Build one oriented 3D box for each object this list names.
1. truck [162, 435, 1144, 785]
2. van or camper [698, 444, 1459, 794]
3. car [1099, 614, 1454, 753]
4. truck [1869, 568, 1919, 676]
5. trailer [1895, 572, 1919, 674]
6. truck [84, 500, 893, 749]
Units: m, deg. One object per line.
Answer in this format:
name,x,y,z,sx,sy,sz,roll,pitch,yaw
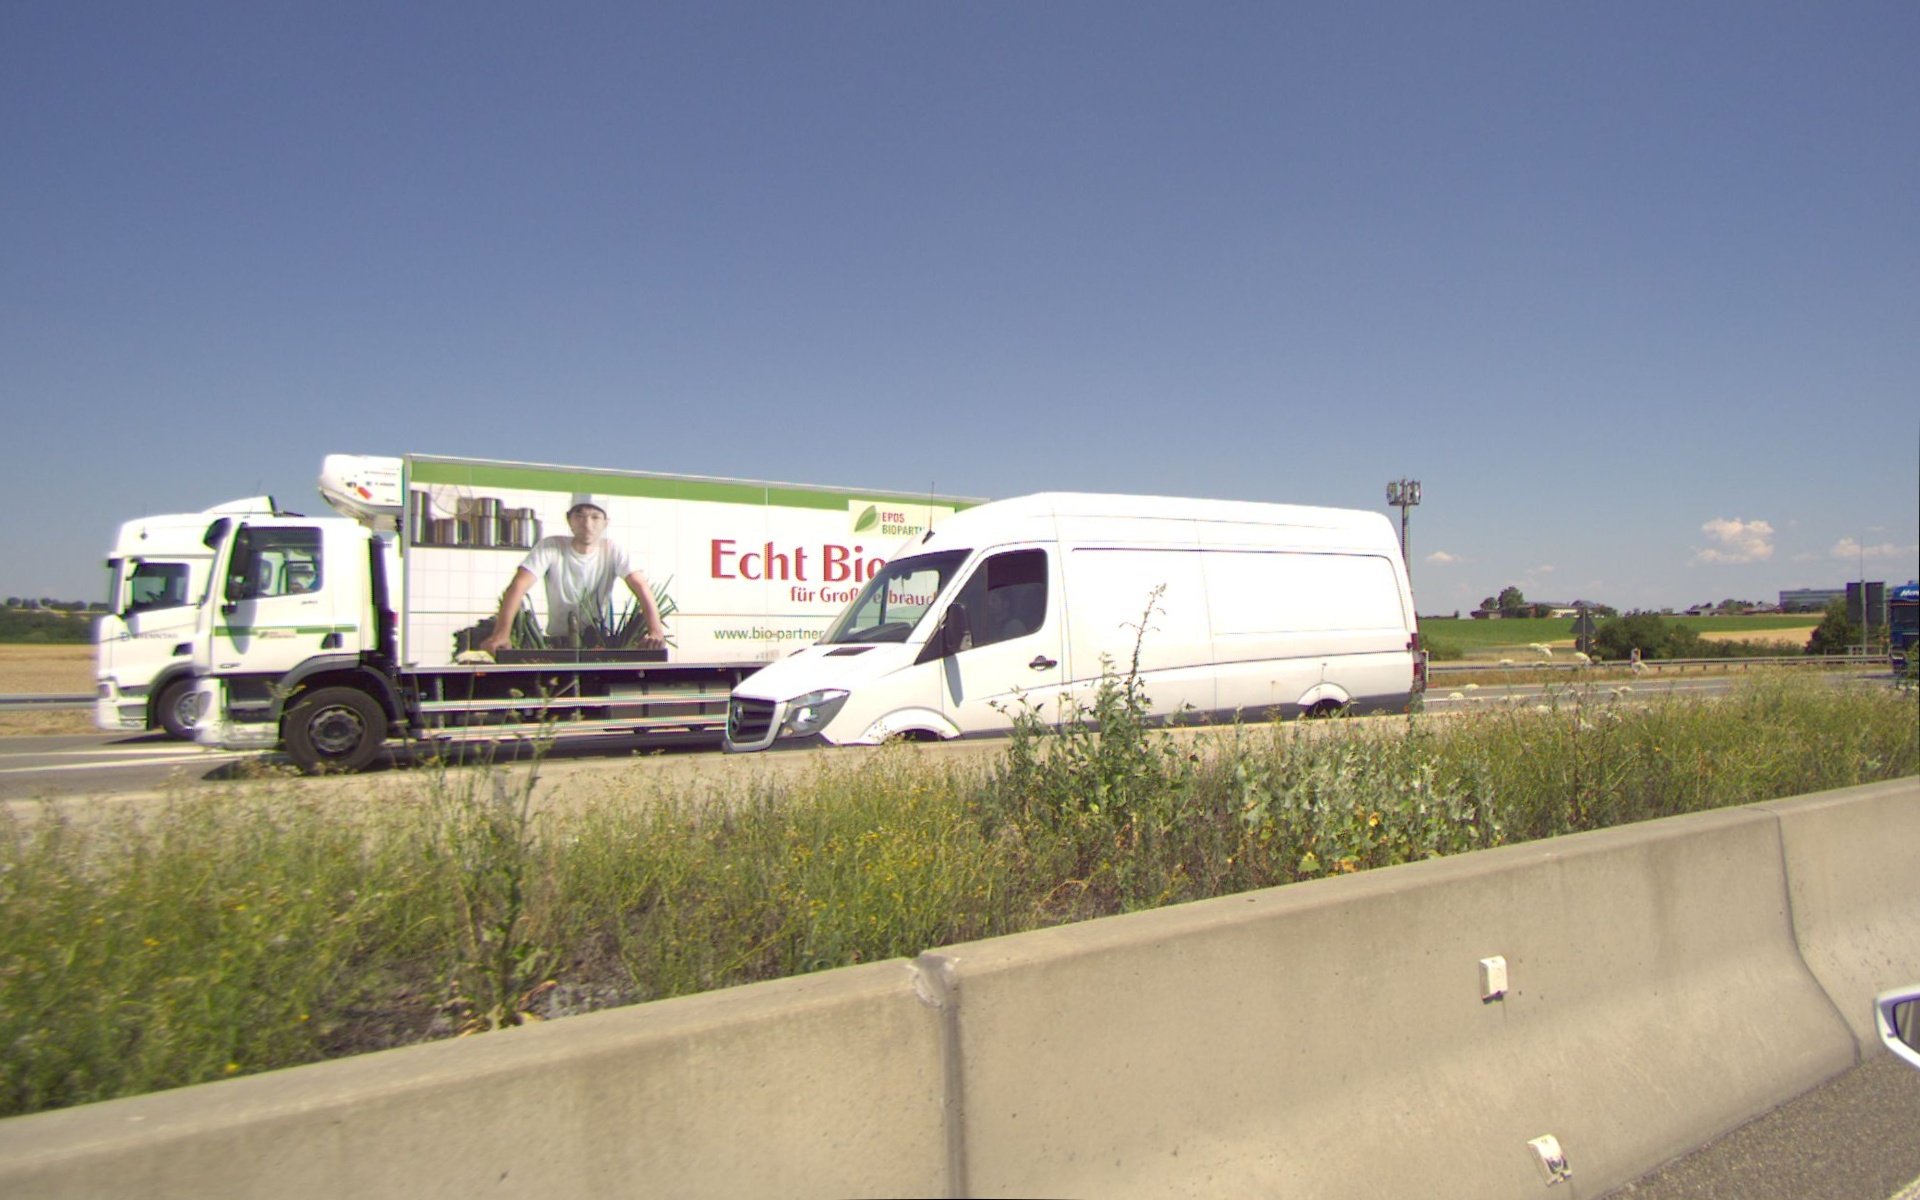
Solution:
truck,-3.267,0.294,14.989,13.130,3.656,2.783,1,-4,-30
van or camper,1.438,0.177,9.150,7.124,2.251,2.025,1,0,-31
car,4.773,1.137,14.791,5.460,1.732,1.876,1,-3,-32
truck,39.337,0.894,40.376,4.785,4.182,2.796,1,-2,-31
trailer,45.662,1.030,44.183,13.966,4.182,2.796,1,-2,-31
truck,-7.944,0.528,19.389,13.100,3.825,2.893,1,-4,-24
